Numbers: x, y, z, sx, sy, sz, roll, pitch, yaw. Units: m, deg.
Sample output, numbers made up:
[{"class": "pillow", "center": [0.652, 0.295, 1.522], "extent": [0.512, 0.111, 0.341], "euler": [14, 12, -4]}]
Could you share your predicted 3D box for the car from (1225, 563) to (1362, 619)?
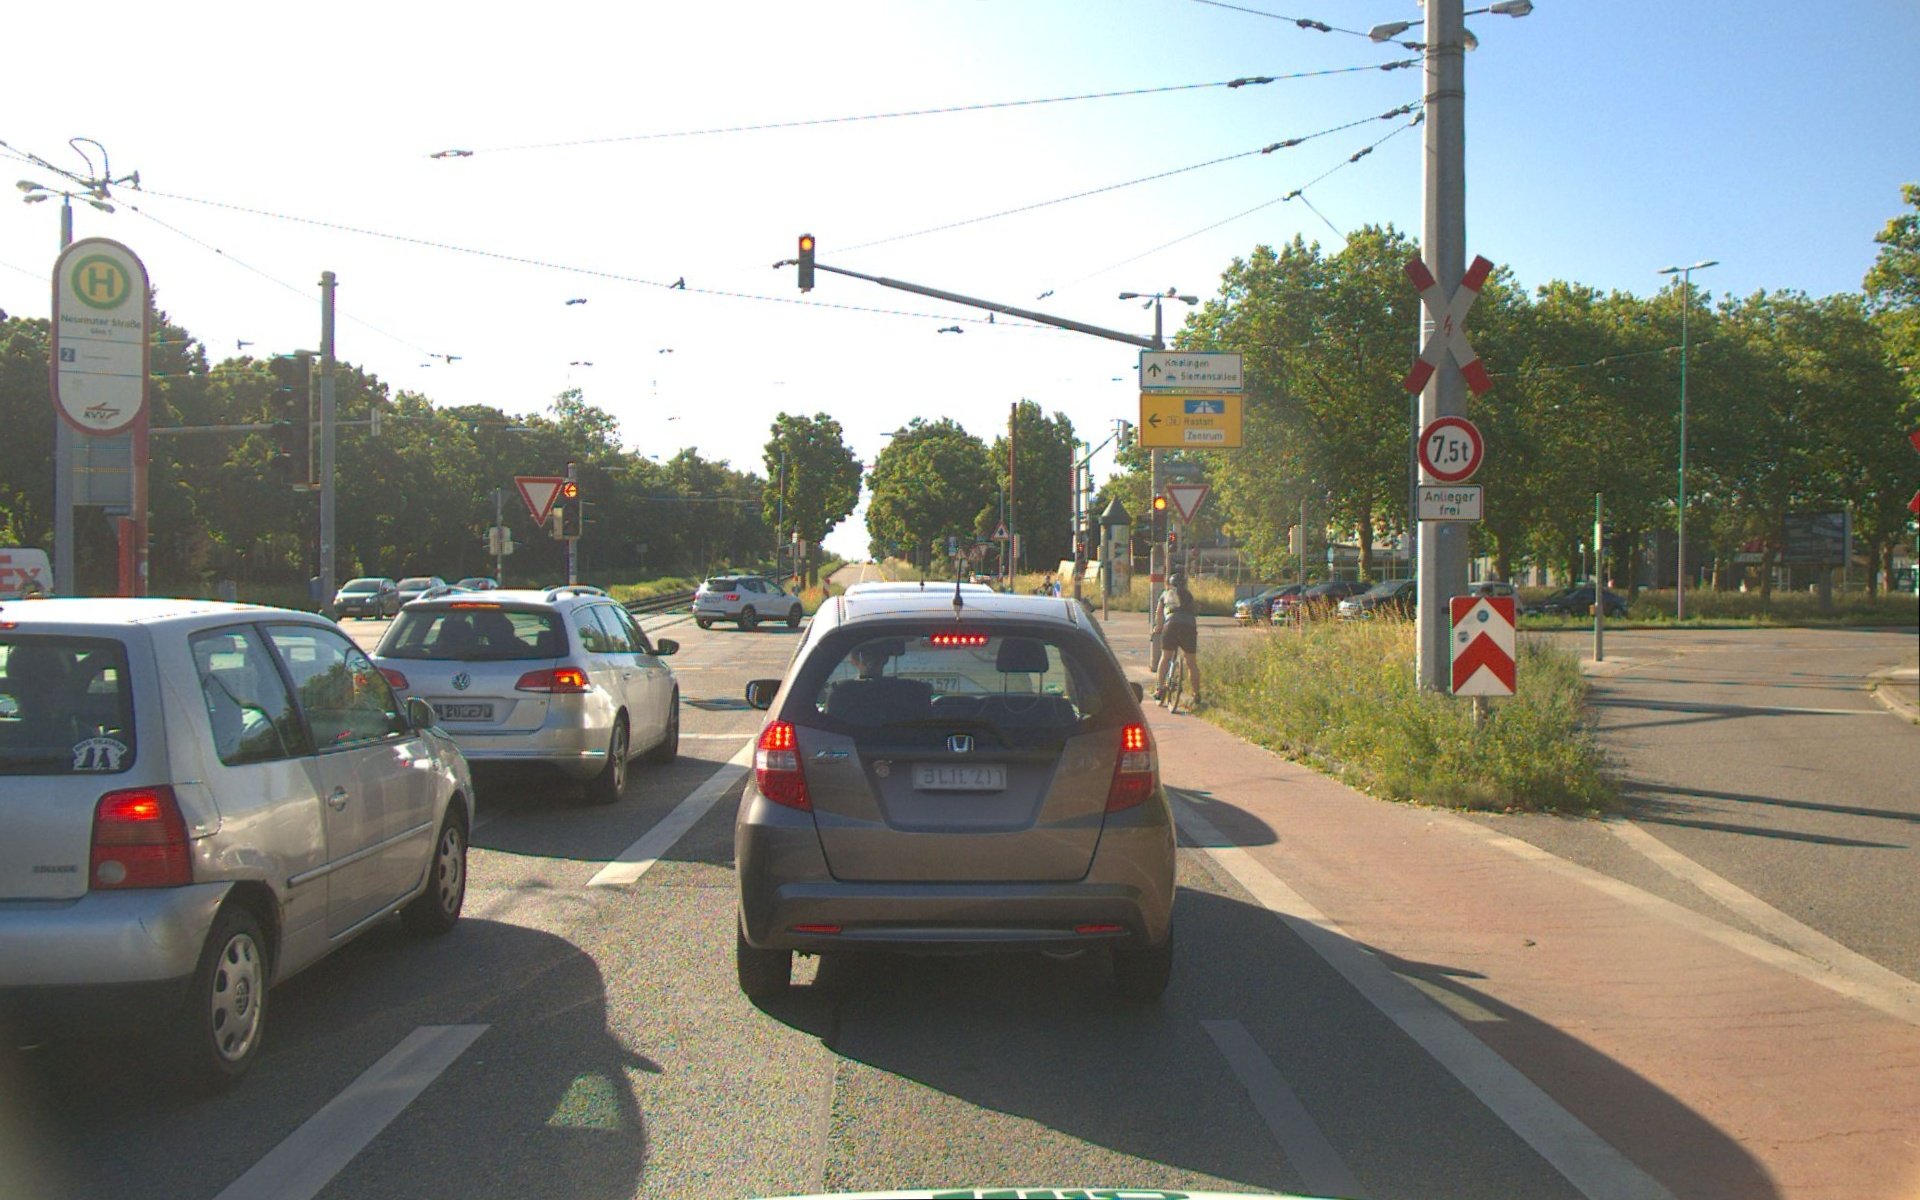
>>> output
[{"class": "car", "center": [12.182, -0.307, 60.453], "extent": [4.626, 1.912, 1.985], "euler": [2, 0, -24]}]

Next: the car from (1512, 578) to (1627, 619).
[{"class": "car", "center": [24.481, -0.091, 66.419], "extent": [4.450, 1.601, 1.681], "euler": [0, 0, -24]}]

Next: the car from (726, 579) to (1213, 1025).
[{"class": "car", "center": [-0.056, 0.666, 7.359], "extent": [1.635, 1.487, 3.584], "euler": [0, 0, -3]}]

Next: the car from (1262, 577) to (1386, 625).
[{"class": "car", "center": [12.364, 0.007, 56.168], "extent": [3.934, 1.557, 1.594], "euler": [-1, 1, -24]}]

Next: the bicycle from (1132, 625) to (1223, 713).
[{"class": "bicycle", "center": [2.760, 0.851, 21.287], "extent": [0.707, 1.006, 2.875], "euler": [1, 0, -2]}]

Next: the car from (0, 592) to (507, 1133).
[{"class": "car", "center": [-2.889, 0.710, 6.090], "extent": [1.586, 1.442, 3.350], "euler": [0, 0, -1]}]

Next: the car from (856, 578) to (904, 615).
[{"class": "car", "center": [-3.070, -0.136, 64.250], "extent": [1.491, 1.403, 3.677], "euler": [0, 0, 3]}]

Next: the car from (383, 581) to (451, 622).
[{"class": "car", "center": [-21.480, 0.049, 65.540], "extent": [1.798, 1.575, 4.277], "euler": [0, 0, -8]}]

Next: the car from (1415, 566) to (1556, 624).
[{"class": "car", "center": [19.027, -0.207, 59.889], "extent": [4.823, 2.049, 1.985], "euler": [0, 0, -24]}]

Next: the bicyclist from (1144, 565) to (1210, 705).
[{"class": "bicyclist", "center": [2.773, 0.438, 21.209], "extent": [0.652, 1.746, 0.948], "euler": [1, 0, -2]}]

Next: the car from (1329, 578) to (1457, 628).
[{"class": "car", "center": [13.931, 0.072, 53.236], "extent": [3.920, 1.571, 1.580], "euler": [0, 0, -25]}]

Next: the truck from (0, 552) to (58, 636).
[{"class": "truck", "center": [-31.154, -0.175, 50.257], "extent": [1.953, 2.610, 6.821], "euler": [0, 0, 23]}]

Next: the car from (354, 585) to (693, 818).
[{"class": "car", "center": [-3.147, 0.663, 12.730], "extent": [1.586, 1.482, 4.084], "euler": [1, 0, -1]}]

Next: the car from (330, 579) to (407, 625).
[{"class": "car", "center": [-21.311, 0.064, 59.752], "extent": [1.798, 1.575, 3.993], "euler": [0, 0, -8]}]

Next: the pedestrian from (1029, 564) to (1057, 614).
[{"class": "pedestrian", "center": [3.159, -0.427, 63.146], "extent": [0.840, 1.868, 0.785], "euler": [0, 0, -22]}]

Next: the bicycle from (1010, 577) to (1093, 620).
[{"class": "bicycle", "center": [3.495, -0.061, 63.247], "extent": [3.162, 1.602, 0.815], "euler": [0, 0, -24]}]

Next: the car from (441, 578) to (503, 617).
[{"class": "car", "center": [-21.728, -0.132, 73.789], "extent": [1.956, 1.632, 4.746], "euler": [1, 1, -8]}]

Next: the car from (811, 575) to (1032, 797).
[{"class": "car", "center": [-0.327, 0.608, 13.991], "extent": [1.578, 1.589, 4.287], "euler": [0, 0, -1]}]

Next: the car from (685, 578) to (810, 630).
[{"class": "car", "center": [-6.337, 0.096, 49.660], "extent": [1.678, 1.504, 3.993], "euler": [0, 0, 29]}]
